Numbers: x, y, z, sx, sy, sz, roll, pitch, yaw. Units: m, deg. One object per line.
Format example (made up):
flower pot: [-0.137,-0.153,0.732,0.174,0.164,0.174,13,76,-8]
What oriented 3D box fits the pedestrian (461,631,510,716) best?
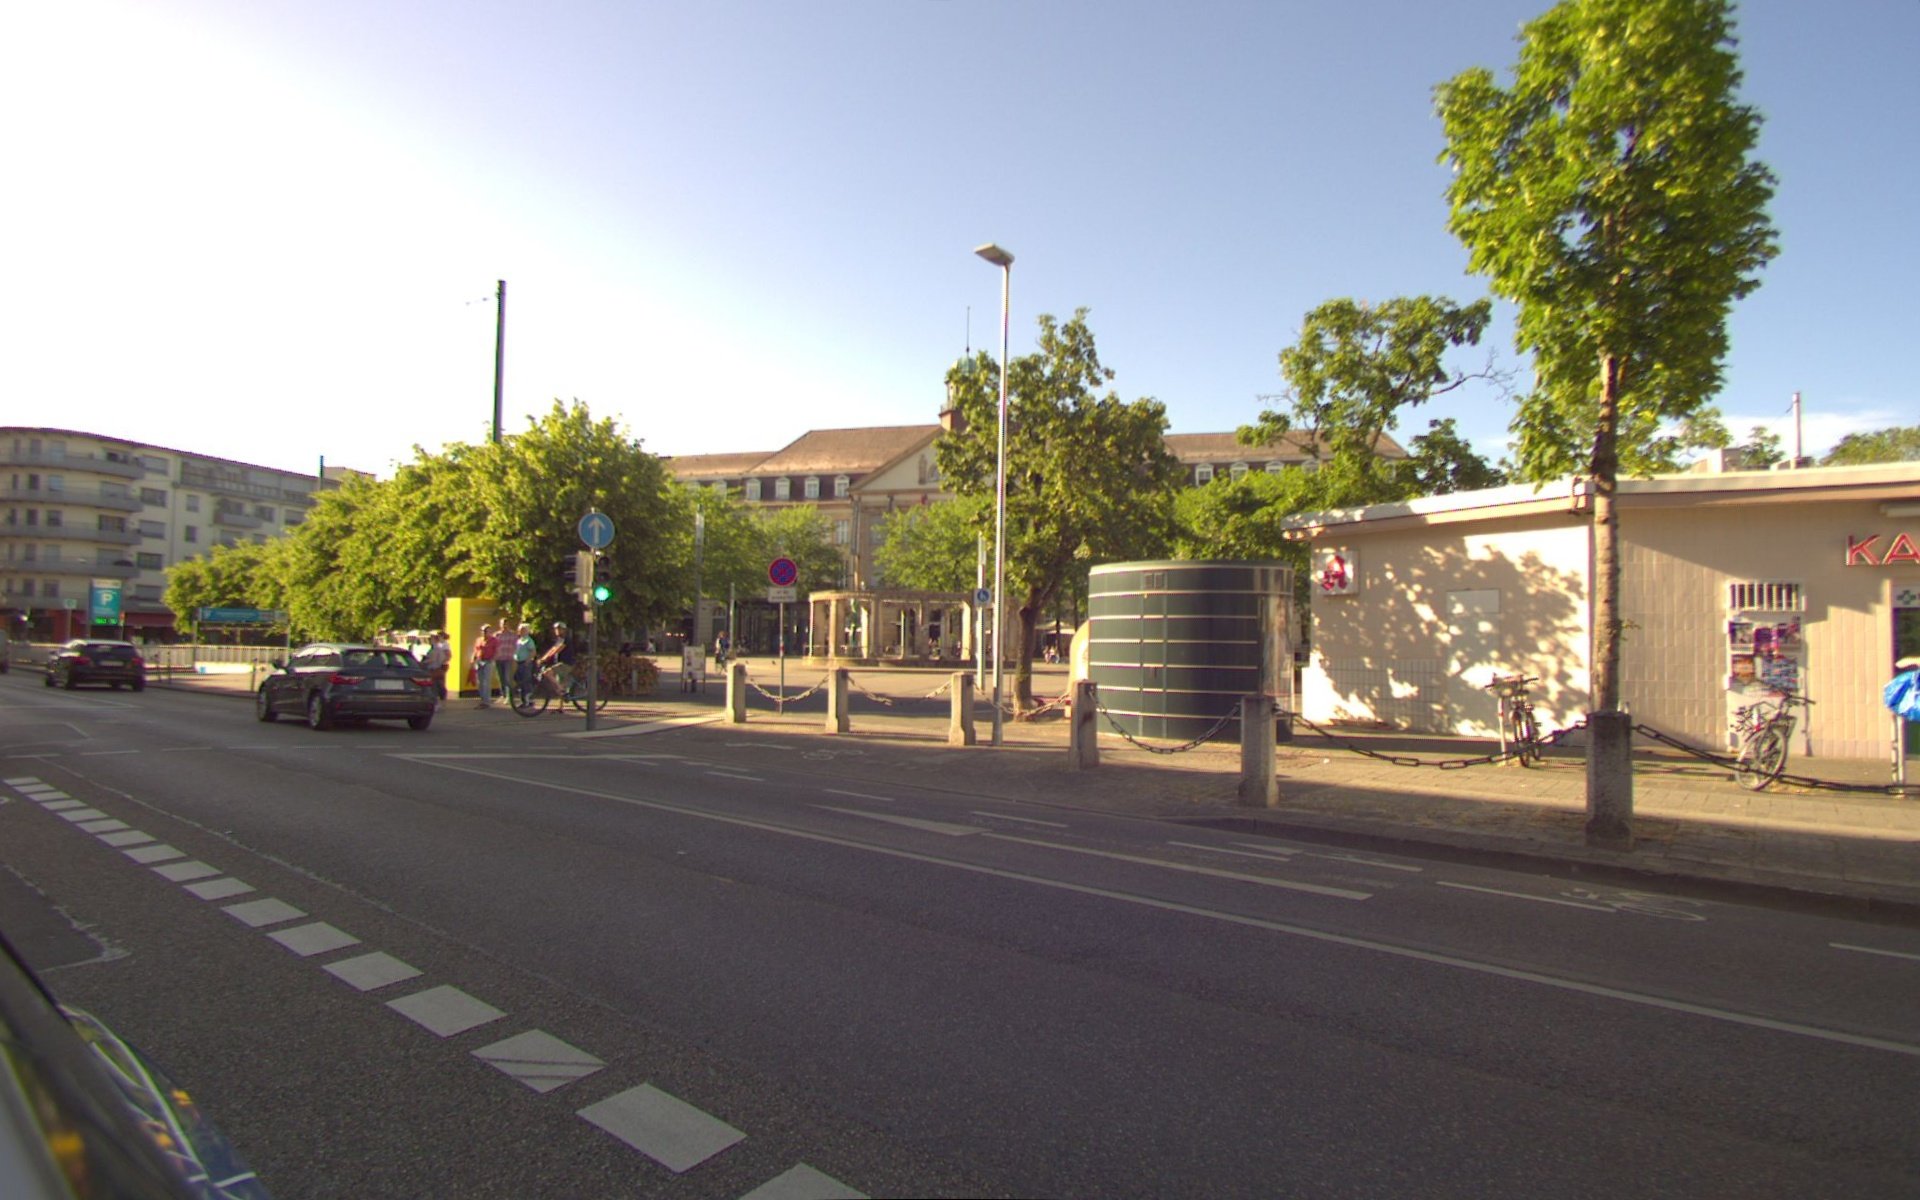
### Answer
pedestrian: [-10.320,1.597,22.027,0.772,1.825,0.590,1,-3,-5]

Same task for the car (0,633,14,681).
car: [-42.014,2.339,42.922,4.777,1.962,1.974,-2,-7,39]

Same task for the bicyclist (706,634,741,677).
bicyclist: [-9.023,2.121,38.535,0.927,1.621,1.173,3,-4,-32]

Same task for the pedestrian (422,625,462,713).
pedestrian: [-11.278,1.499,22.036,0.640,1.872,0.626,2,-3,-19]

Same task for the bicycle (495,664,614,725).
bicycle: [-8.167,1.872,20.411,2.139,1.080,0.766,-1,-2,-30]

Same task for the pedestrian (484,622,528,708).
pedestrian: [-10.399,1.474,23.191,0.783,1.933,0.601,-2,-4,41]

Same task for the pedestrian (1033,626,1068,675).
pedestrian: [5.684,3.173,63.480,1.527,3.001,1.726,-2,-4,36]

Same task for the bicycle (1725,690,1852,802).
bicycle: [8.846,1.500,10.778,1.862,1.010,0.766,3,-4,-43]

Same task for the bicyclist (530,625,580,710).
bicyclist: [-8.170,1.352,20.419,0.791,1.661,0.997,2,-3,-29]

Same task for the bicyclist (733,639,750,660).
bicyclist: [-15.450,3.493,71.503,0.646,1.483,0.940,-2,-3,39]

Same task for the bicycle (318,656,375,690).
bicycle: [-19.462,2.314,32.125,1.507,1.039,0.365,3,-4,-36]

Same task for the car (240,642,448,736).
car: [-10.546,1.477,17.237,4.038,1.408,1.634,-2,-7,38]

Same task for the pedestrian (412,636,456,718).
pedestrian: [-11.089,1.614,21.357,0.676,1.686,0.699,2,-3,-19]

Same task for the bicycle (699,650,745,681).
bicycle: [-9.083,2.491,38.606,0.927,1.141,2.486,3,-4,-32]

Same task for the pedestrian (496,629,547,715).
pedestrian: [-9.458,1.537,21.840,0.776,1.825,0.587,0,-3,14]

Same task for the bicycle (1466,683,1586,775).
bicycle: [7.175,1.585,12.793,1.862,1.010,0.766,3,-4,-43]

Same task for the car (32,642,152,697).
car: [-25.259,1.997,29.411,4.248,1.434,1.732,-2,-6,38]

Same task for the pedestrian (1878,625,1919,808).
pedestrian: [9.551,1.105,9.678,1.068,1.711,0.904,2,-4,-37]

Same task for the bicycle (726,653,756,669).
bicycle: [-15.447,4.289,71.516,0.696,1.112,2.097,-2,-4,38]
